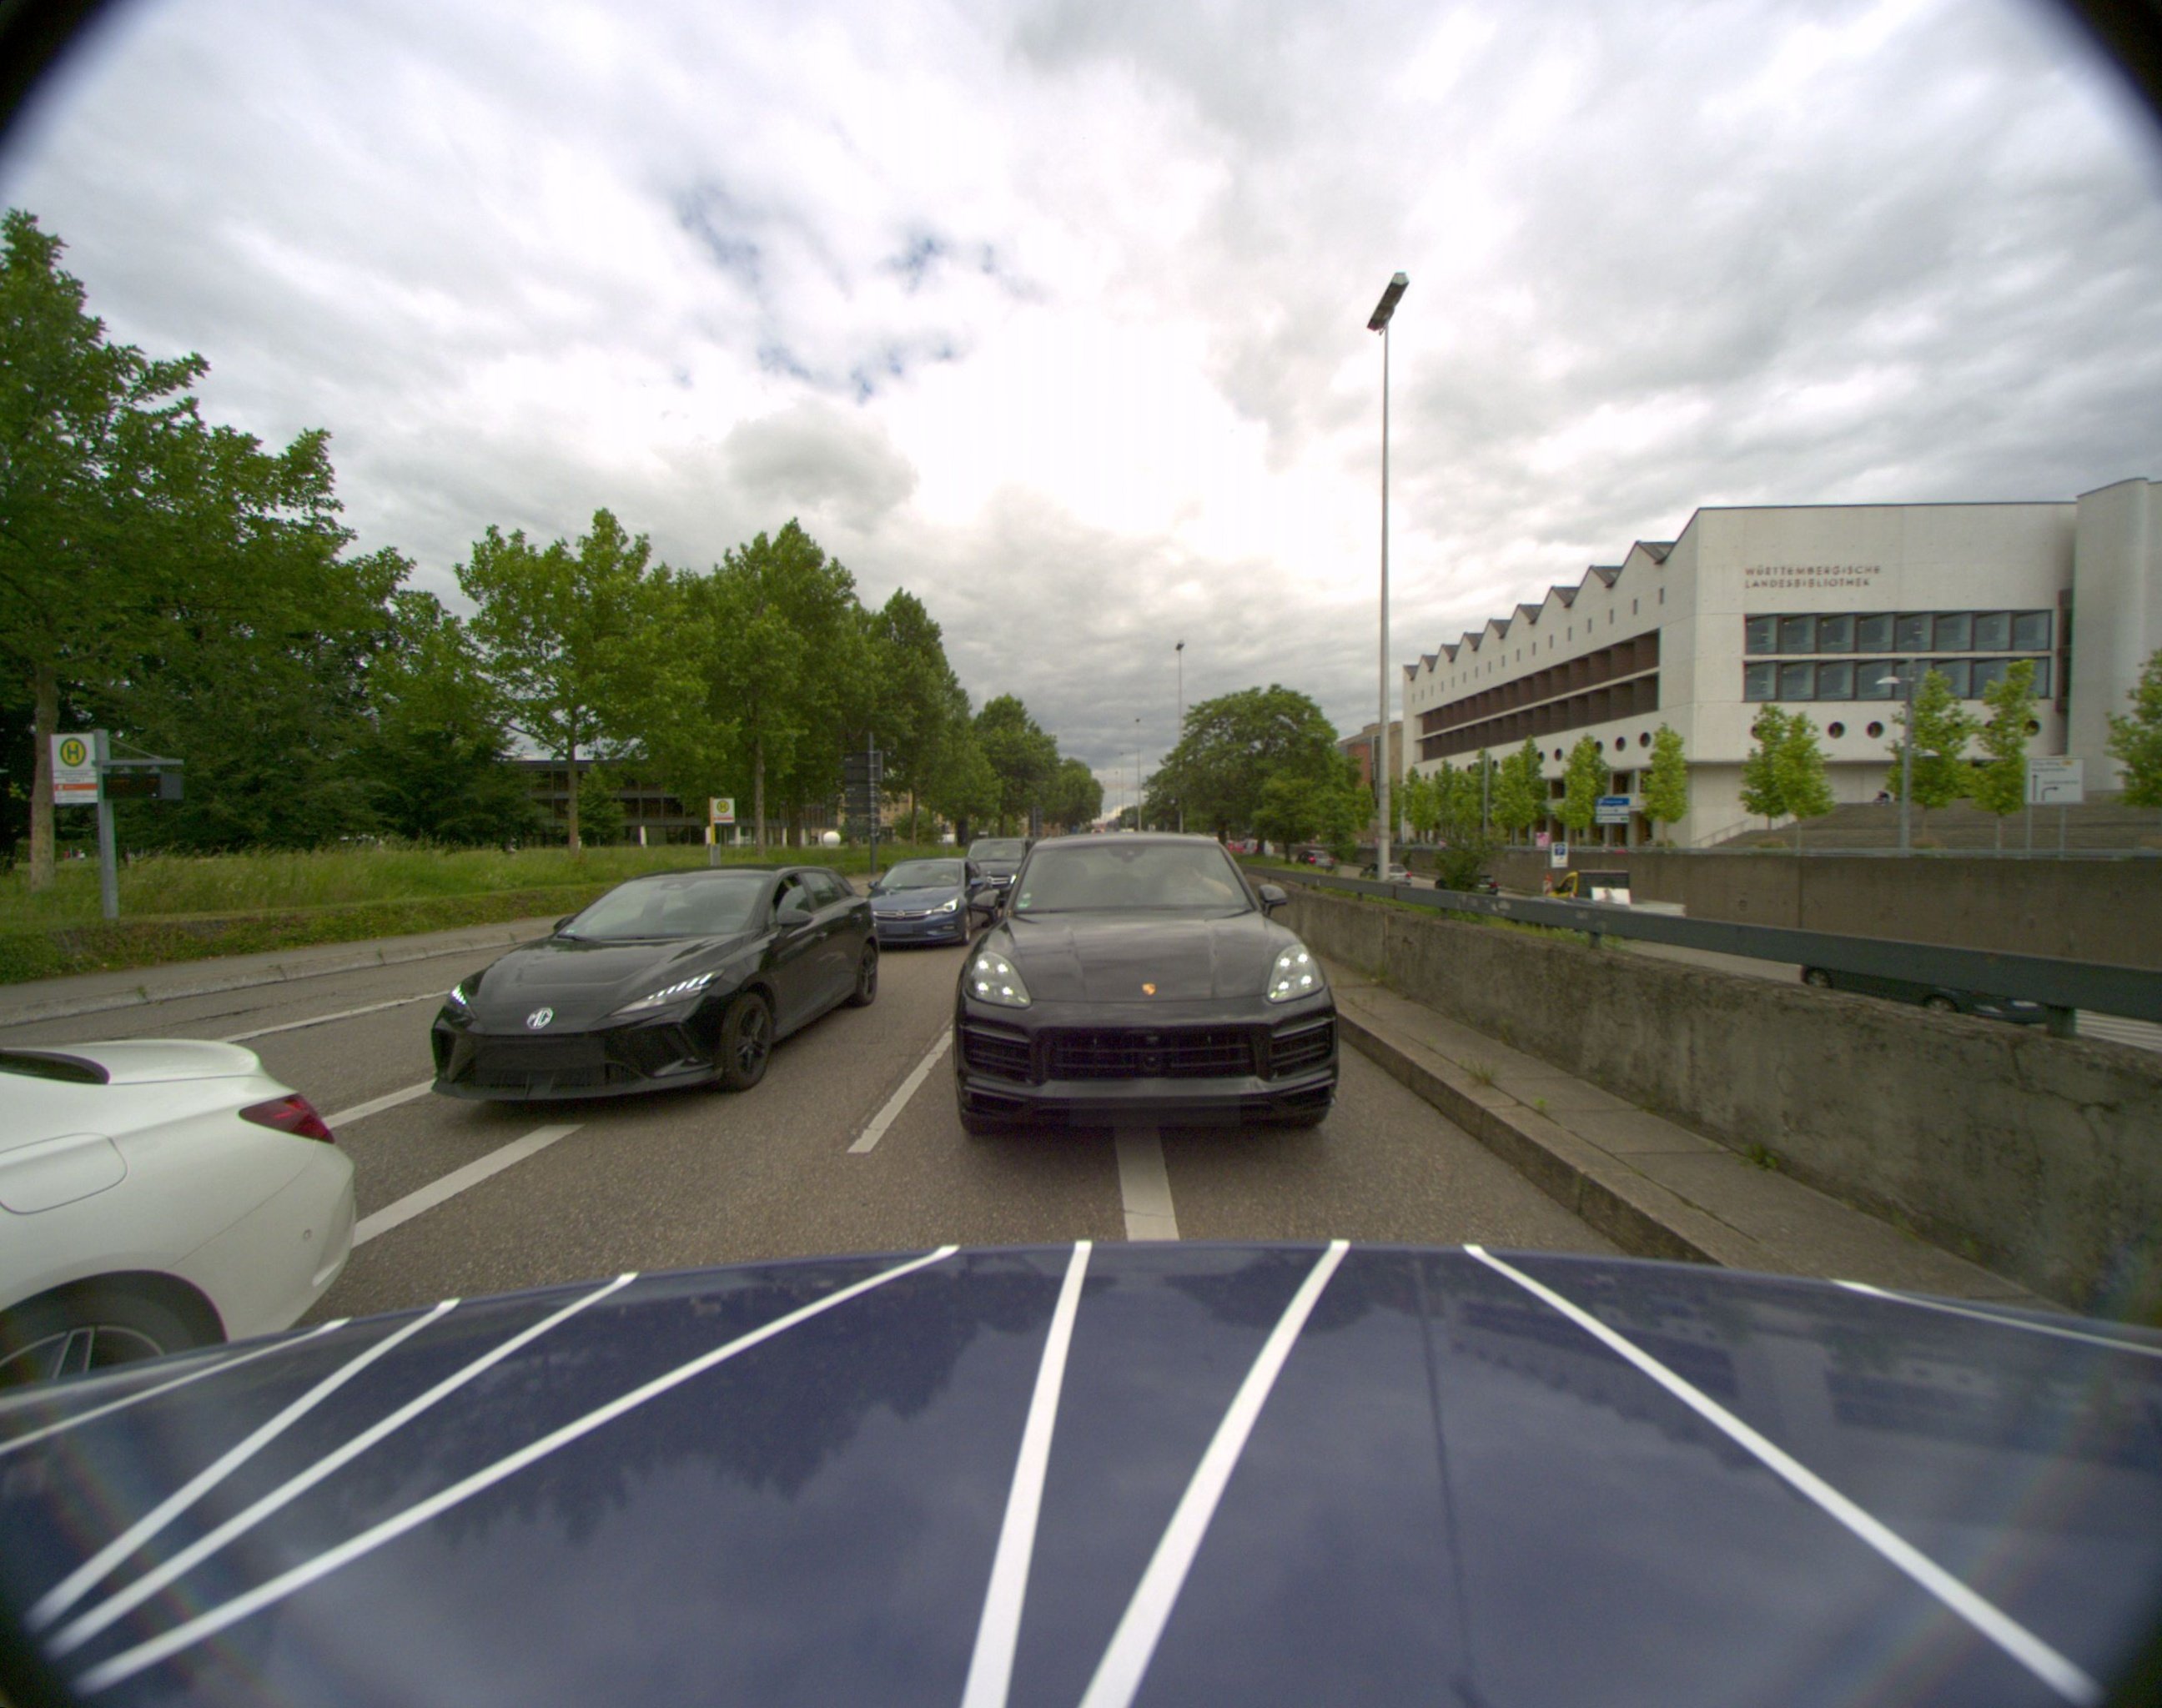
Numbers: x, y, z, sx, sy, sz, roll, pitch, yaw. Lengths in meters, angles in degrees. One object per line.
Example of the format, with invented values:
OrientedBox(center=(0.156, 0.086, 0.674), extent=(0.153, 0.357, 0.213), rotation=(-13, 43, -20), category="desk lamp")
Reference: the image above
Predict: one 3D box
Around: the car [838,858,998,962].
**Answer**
OrientedBox(center=(-2.673, 0.856, 13.457), extent=(1.805, 1.426, 4.015), rotation=(-1, 1, 2), category="car")

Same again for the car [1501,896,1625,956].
OrientedBox(center=(17.210, 2.508, 27.395), extent=(1.816, 1.562, 4.168), rotation=(-3, 2, 1), category="car")

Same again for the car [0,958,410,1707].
OrientedBox(center=(-3.189, 1.107, 0.218), extent=(1.799, 1.412, 4.526), rotation=(-1, 1, 2), category="car")

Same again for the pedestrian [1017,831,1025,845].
OrientedBox(center=(-8.964, -2.409, 113.278), extent=(0.892, 2.002, 1.181), rotation=(-3, 2, 2), category="pedestrian")

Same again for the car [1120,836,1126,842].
OrientedBox(center=(10.702, -3.898, 193.039), extent=(1.525, 1.389, 3.479), rotation=(-1, -1, 3), category="car")

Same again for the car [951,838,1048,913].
OrientedBox(center=(-2.138, 0.483, 21.439), extent=(2.021, 1.823, 4.804), rotation=(-1, 1, 2), category="car")

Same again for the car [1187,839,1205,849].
OrientedBox(center=(16.672, -1.487, 110.133), extent=(1.998, 1.390, 3.999), rotation=(2, 1, 0), category="car")

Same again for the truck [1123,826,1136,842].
OrientedBox(center=(10.746, -4.428, 168.626), extent=(2.576, 3.289, 8.078), rotation=(-3, 2, 2), category="truck")

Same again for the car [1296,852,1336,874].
OrientedBox(center=(17.910, 0.664, 57.963), extent=(1.880, 1.539, 3.999), rotation=(-1, 1, 1), category="car")

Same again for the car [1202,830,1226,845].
OrientedBox(center=(16.687, -2.058, 95.314), extent=(1.998, 1.630, 5.247), rotation=(5, 3, 0), category="car")

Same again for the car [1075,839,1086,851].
OrientedBox(center=(-0.108, -1.578, 134.212), extent=(1.693, 2.002, 3.999), rotation=(-3, 2, 2), category="car")

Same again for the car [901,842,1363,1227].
OrientedBox(center=(0.338, 0.736, 5.556), extent=(1.904, 1.581, 4.732), rotation=(-1, 1, 3), category="car")

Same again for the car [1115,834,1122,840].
OrientedBox(center=(11.136, -4.932, 224.652), extent=(1.998, 1.753, 3.999), rotation=(2, 2, 0), category="car")

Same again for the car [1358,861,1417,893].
OrientedBox(center=(17.808, 1.296, 44.300), extent=(1.717, 1.533, 3.906), rotation=(-3, 2, -2), category="car")

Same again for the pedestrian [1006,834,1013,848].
OrientedBox(center=(-10.813, -2.013, 115.218), extent=(0.892, 2.002, 1.181), rotation=(-3, 2, 2), category="pedestrian")

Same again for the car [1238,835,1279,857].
OrientedBox(center=(17.217, -0.735, 73.820), extent=(2.225, 2.002, 5.112), rotation=(-1, 1, -7), category="car")

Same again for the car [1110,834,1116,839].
OrientedBox(center=(10.734, -5.818, 256.260), extent=(1.998, 1.753, 3.999), rotation=(2, 2, 0), category="car")

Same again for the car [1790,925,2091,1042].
OrientedBox(center=(20.294, 2.961, 18.335), extent=(2.168, 1.757, 4.391), rotation=(1, 4, 0), category="car")

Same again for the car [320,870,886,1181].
OrientedBox(center=(-3.111, 0.980, 6.151), extent=(1.852, 1.481, 4.092), rotation=(-1, 1, 2), category="car")

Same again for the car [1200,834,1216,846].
OrientedBox(center=(20.337, -2.293, 121.889), extent=(1.998, 1.753, 3.999), rotation=(2, 2, 0), category="car")

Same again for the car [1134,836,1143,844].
OrientedBox(center=(11.331, -2.768, 150.864), extent=(1.372, 1.389, 3.722), rotation=(-1, -1, -1), category="car")

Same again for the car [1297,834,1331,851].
OrientedBox(center=(26.016, -1.263, 85.004), extent=(2.180, 1.844, 4.735), rotation=(-1, 1, -1), category="car")

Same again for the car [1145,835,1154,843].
OrientedBox(center=(12.102, -2.636, 134.338), extent=(1.372, 1.390, 3.721), rotation=(2, 1, 0), category="car")

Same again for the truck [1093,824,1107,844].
OrientedBox(center=(3.631, -3.789, 142.918), extent=(2.357, 3.518, 9.423), rotation=(-3, 2, 2), category="truck")

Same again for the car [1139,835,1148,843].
OrientedBox(center=(11.672, -2.837, 141.818), extent=(1.372, 1.390, 3.721), rotation=(2, 1, 0), category="car")

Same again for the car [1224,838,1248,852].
OrientedBox(center=(17.114, -0.955, 84.111), extent=(1.998, 1.477, 4.000), rotation=(-1, 1, 2), category="car")

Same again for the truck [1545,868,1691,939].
OrientedBox(center=(20.712, 1.828, 29.684), extent=(2.187, 2.386, 5.381), rotation=(-1, 0, 4), category="truck")
